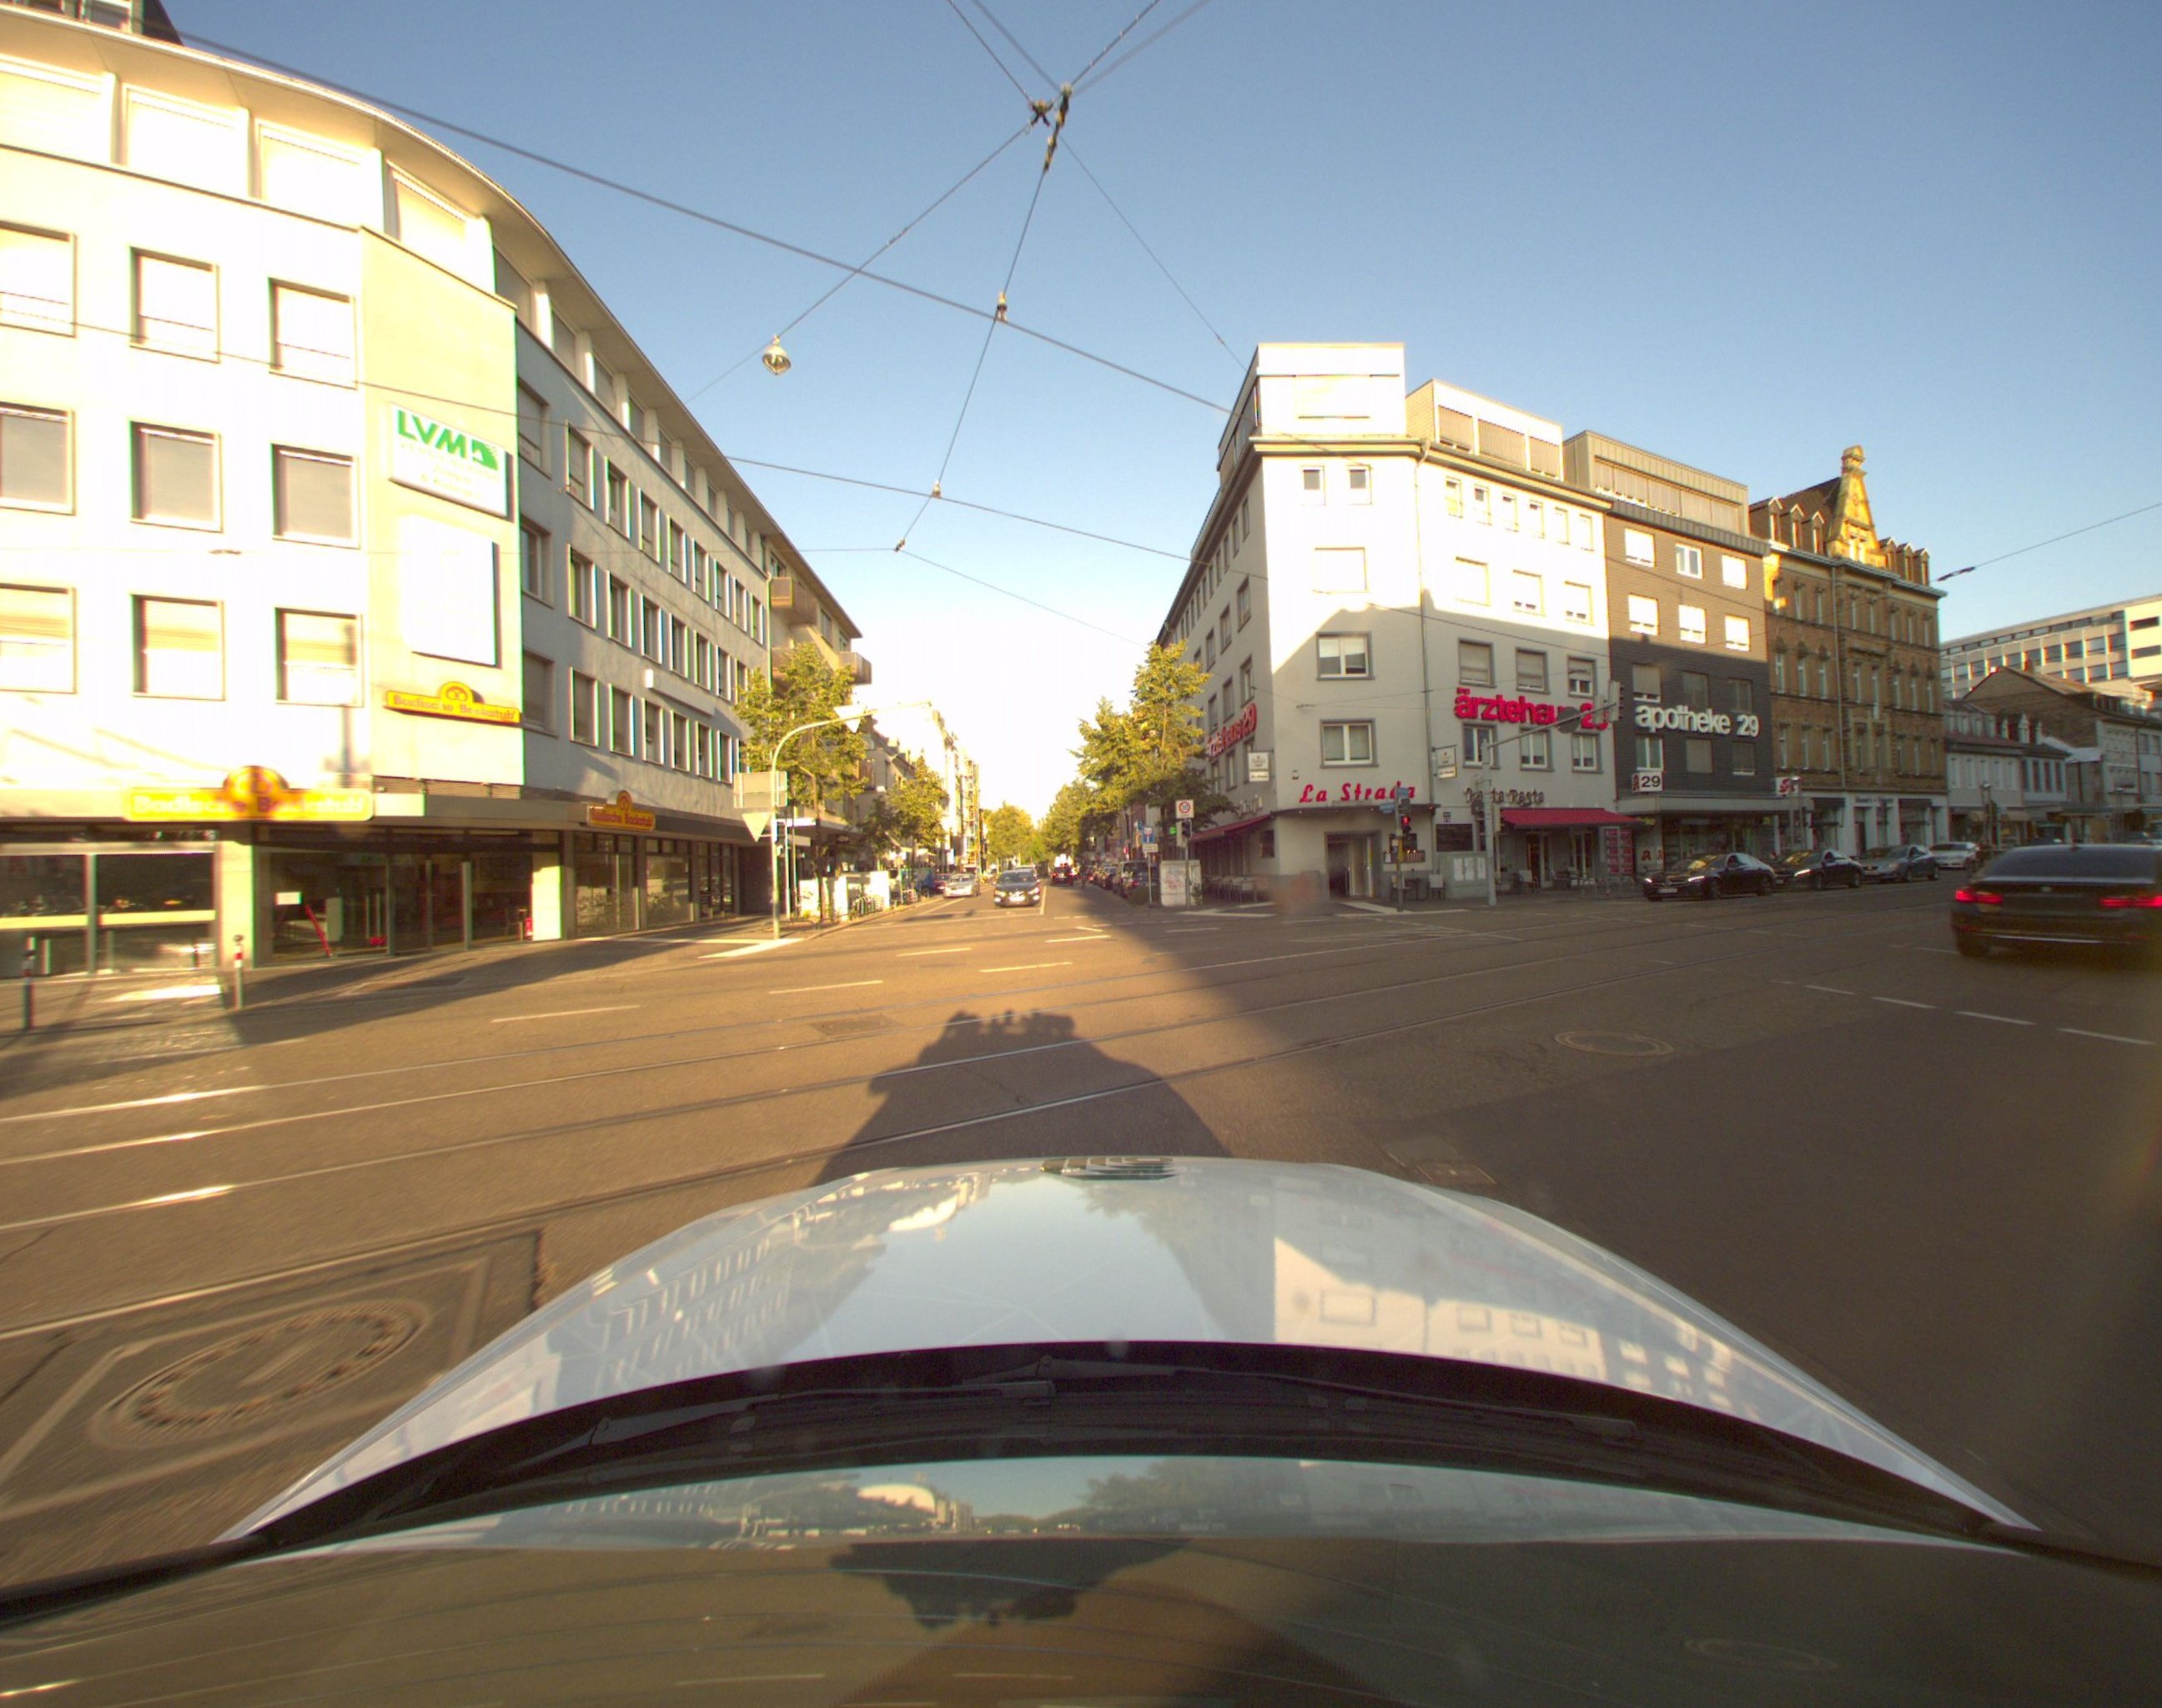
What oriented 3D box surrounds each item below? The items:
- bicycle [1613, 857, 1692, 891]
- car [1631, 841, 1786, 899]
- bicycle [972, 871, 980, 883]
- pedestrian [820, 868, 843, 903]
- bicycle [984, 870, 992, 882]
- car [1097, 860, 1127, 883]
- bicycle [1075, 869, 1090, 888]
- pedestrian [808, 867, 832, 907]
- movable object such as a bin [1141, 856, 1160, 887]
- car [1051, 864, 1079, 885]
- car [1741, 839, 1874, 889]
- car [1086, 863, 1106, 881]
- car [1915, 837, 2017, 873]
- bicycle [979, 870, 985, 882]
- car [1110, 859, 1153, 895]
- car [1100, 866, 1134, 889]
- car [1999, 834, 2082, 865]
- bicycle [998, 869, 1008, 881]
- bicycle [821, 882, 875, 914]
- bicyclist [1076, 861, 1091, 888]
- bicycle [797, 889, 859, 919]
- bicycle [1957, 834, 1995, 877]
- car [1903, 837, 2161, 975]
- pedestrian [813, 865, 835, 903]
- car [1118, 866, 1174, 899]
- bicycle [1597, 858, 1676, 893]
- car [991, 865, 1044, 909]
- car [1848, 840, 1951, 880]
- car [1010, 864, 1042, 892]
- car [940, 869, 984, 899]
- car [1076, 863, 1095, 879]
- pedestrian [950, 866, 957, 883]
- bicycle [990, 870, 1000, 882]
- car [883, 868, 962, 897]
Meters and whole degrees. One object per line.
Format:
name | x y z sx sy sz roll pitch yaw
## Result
bicycle | 20.968 0.752 29.937 0.658 1.193 2.272 0 -2 -31
car | 18.928 0.476 24.545 4.491 1.469 1.964 -2 -2 -28
bicycle | -12.431 2.693 96.638 0.721 1.396 3.141 0 -2 -11
pedestrian | -12.249 1.543 39.943 0.760 1.676 0.748 -2 -2 40
bicycle | -11.083 2.625 96.937 0.781 1.373 3.130 0 -2 -11
car | 2.435 1.384 64.577 1.879 1.754 5.052 -1 -2 -3
bicycle | 0.096 1.591 52.973 0.779 1.204 2.017 -3 -1 -5
pedestrian | -12.490 1.563 38.984 0.763 1.847 0.744 -2 0 7
movable object such as a bin | 3.991 1.018 46.926 0.834 1.774 1.203 -1 -2 -6
car | -1.263 1.667 66.689 1.986 1.602 4.510 -1 -2 2
car | 25.134 0.339 28.175 4.410 1.523 1.982 -1 -2 -28
car | 1.424 1.762 79.685 1.807 1.668 4.202 -1 -2 -2
car | 45.035 0.071 41.440 4.989 1.705 1.976 0 -2 -24
bicycle | -11.768 2.646 96.781 0.585 1.396 3.149 0 -2 -11
car | 2.624 1.172 42.966 1.652 1.778 4.004 -1 -1 -5
car | 2.242 1.480 52.349 1.749 1.420 4.504 -1 -1 -3
car | 55.977 -0.228 47.496 4.993 1.705 1.975 0 -2 -26
bicycle | -9.362 2.551 97.301 0.845 1.351 3.175 -2 -1 -11
bicycle | -9.176 1.727 32.096 2.004 1.219 0.491 -1 -2 -3
bicyclist | 0.149 1.313 52.889 0.779 1.696 1.005 -3 -2 -5
bicycle | -8.879 1.742 28.594 2.007 0.992 0.490 -1 -2 -7
bicycle | 35.705 0.032 32.459 3.070 1.632 0.853 -1 -2 -40
car | 12.662 0.533 10.297 4.521 1.420 1.981 -1 -1 -29
pedestrian | -12.838 1.501 40.673 0.738 1.819 0.813 -3 0 -1
car | 2.835 1.244 36.551 1.933 1.376 4.176 -1 -1 -4
bicycle | 19.913 0.767 29.245 0.657 1.193 2.272 0 -2 -31
car | -2.601 1.292 33.413 1.955 1.547 4.502 -2 0 -4
car | 31.148 0.245 30.980 3.689 1.420 1.753 0 -2 -28
car | -3.644 1.588 53.794 1.937 1.645 4.732 -3 -2 -4
car | -6.964 1.752 48.177 1.989 1.511 4.505 -5 -1 -2
car | 0.474 1.933 92.911 1.822 1.695 4.360 -1 -2 -5
pedestrian | -13.256 2.160 84.904 0.717 1.767 0.691 0 -2 -11
bicycle | -10.242 2.602 97.119 0.893 1.396 3.154 -1 -1 -11
car | -10.630 1.883 54.740 4.891 1.828 1.982 0 -2 -27
